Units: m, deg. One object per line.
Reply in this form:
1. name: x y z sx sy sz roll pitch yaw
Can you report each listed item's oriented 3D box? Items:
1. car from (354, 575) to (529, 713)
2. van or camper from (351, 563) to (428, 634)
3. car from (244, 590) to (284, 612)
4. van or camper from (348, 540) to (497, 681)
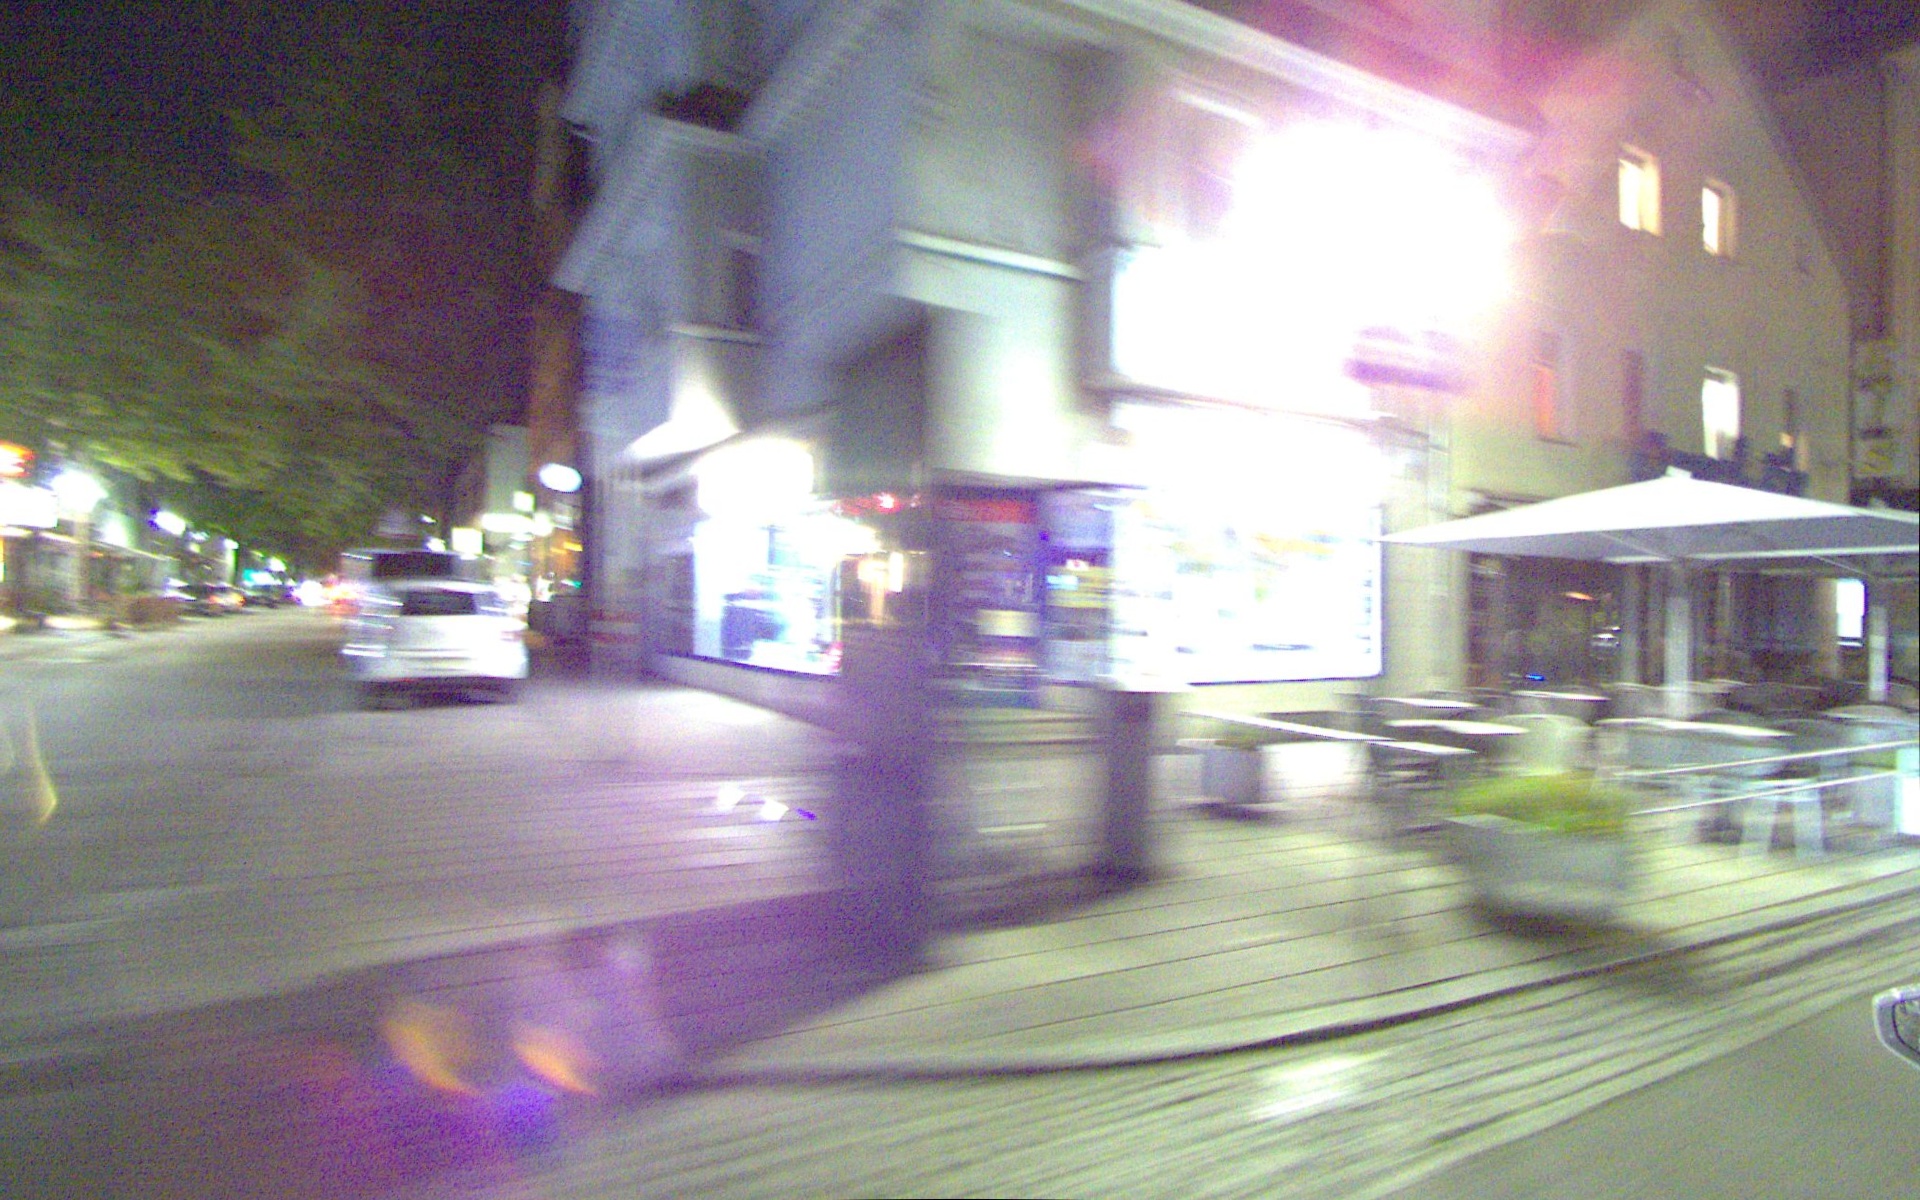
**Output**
1. car: -6.923 0.475 13.243 1.778 1.541 3.580 -1 1 -32
2. van or camper: -18.702 -0.065 32.941 2.066 2.156 4.092 -1 1 -30
3. car: -46.991 0.085 67.881 1.780 1.455 3.970 1 -1 -29
4. van or camper: -9.483 0.139 17.675 2.066 2.156 4.092 -1 1 -30
